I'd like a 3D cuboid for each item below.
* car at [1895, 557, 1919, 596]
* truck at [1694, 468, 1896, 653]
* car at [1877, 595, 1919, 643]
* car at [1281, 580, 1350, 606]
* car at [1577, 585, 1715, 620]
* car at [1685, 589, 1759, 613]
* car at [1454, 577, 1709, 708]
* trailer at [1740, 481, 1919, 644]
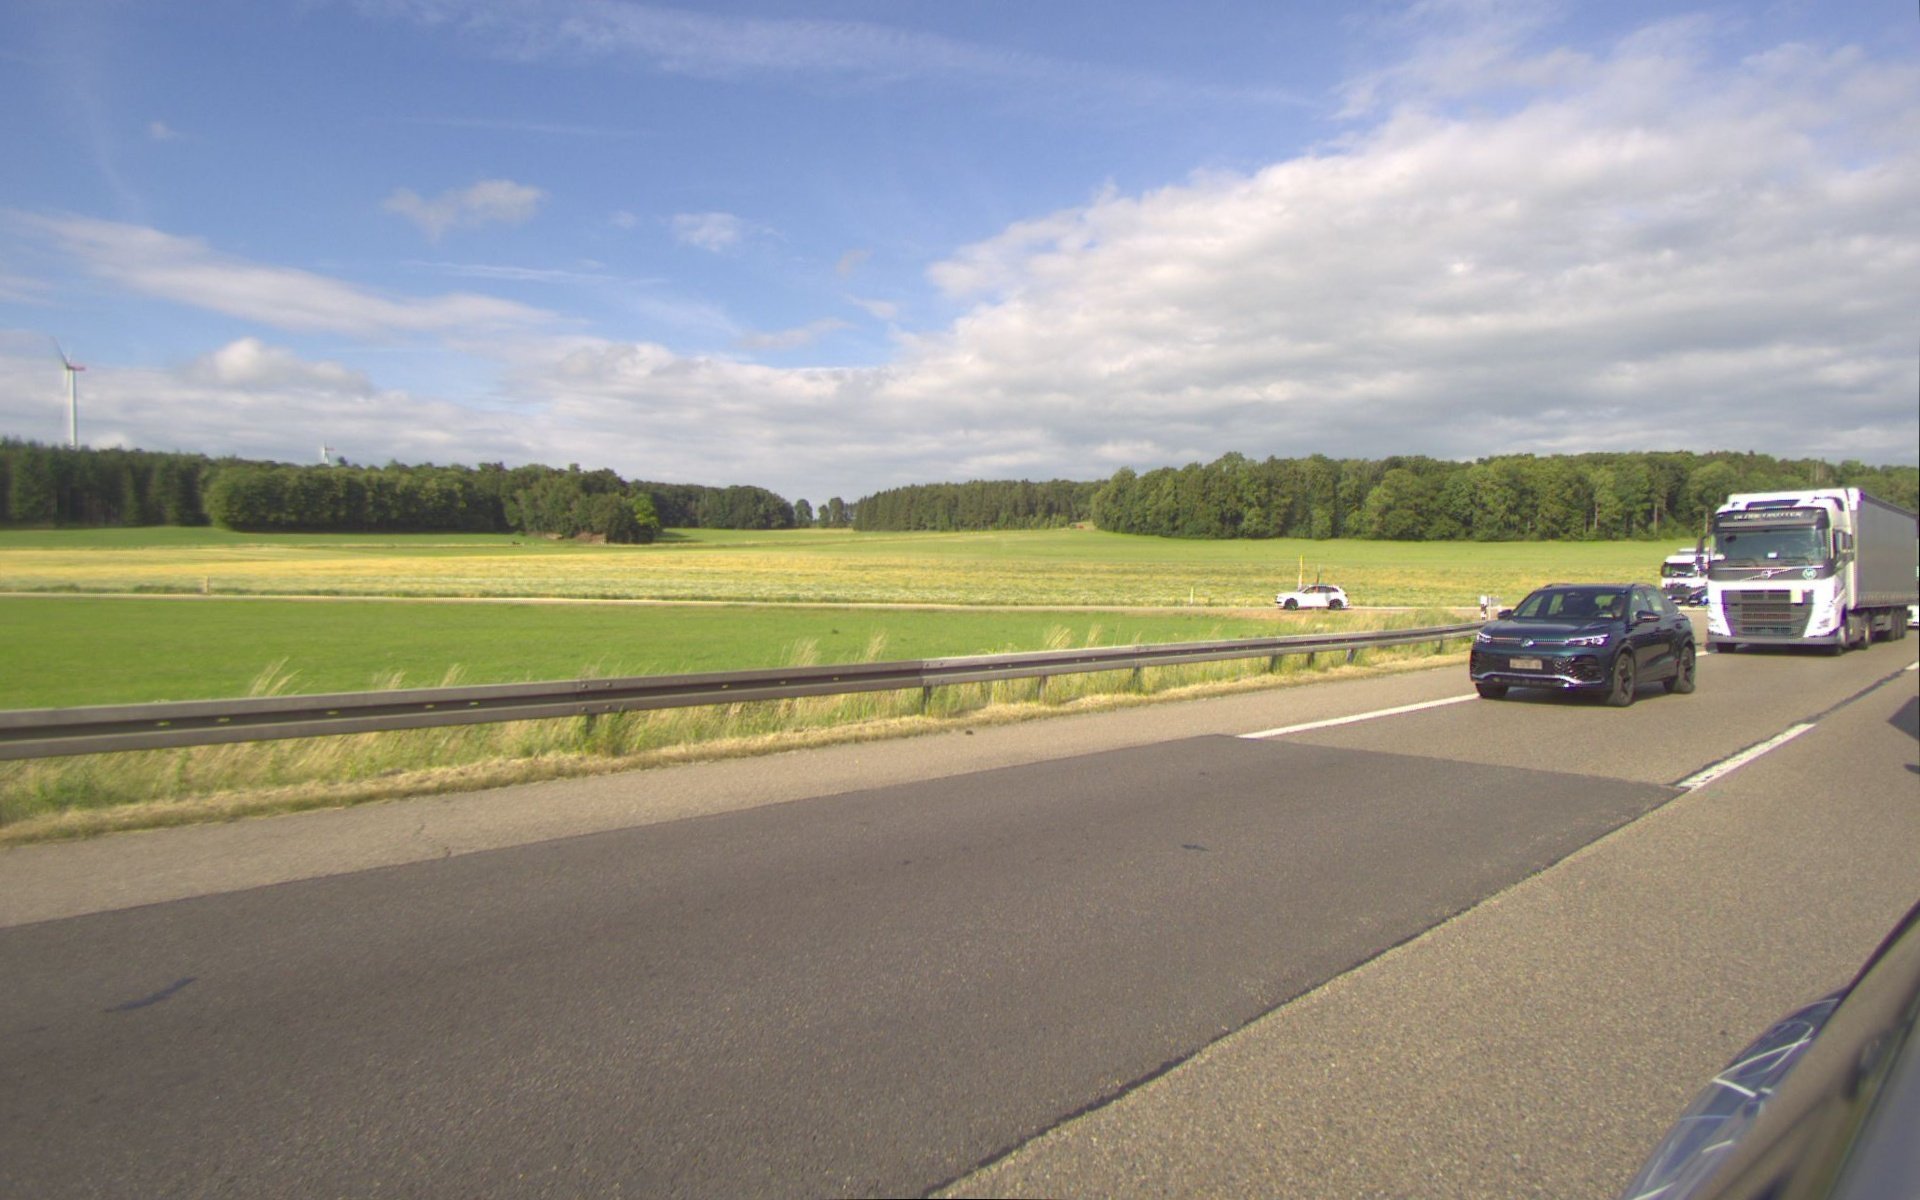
[{"bbox_3d":[42.835,-1.020,44.615,3.931,1.678,1.997,-1,1,-41],"label":"car"},{"bbox_3d":[21.007,-0.915,25.349,6.387,4.040,2.840,-1,0,-40],"label":"truck"},{"bbox_3d":[36.091,0.681,38.026,3.931,1.678,1.997,-1,1,-41],"label":"car"},{"bbox_3d":[22.807,-0.455,65.066,3.937,1.638,1.993,0,0,12],"label":"car"},{"bbox_3d":[31.923,0.084,47.175,4.986,1.565,1.999,0,0,2],"label":"car"},{"bbox_3d":[50.504,0.041,67.131,3.504,1.549,1.719,0,0,11],"label":"car"},{"bbox_3d":[9.041,0.494,14.607,4.047,1.616,1.997,-1,1,-40],"label":"car"},{"bbox_3d":[26.387,-1.013,29.964,11.915,4.032,2.824,-1,0,-41],"label":"trailer"}]
